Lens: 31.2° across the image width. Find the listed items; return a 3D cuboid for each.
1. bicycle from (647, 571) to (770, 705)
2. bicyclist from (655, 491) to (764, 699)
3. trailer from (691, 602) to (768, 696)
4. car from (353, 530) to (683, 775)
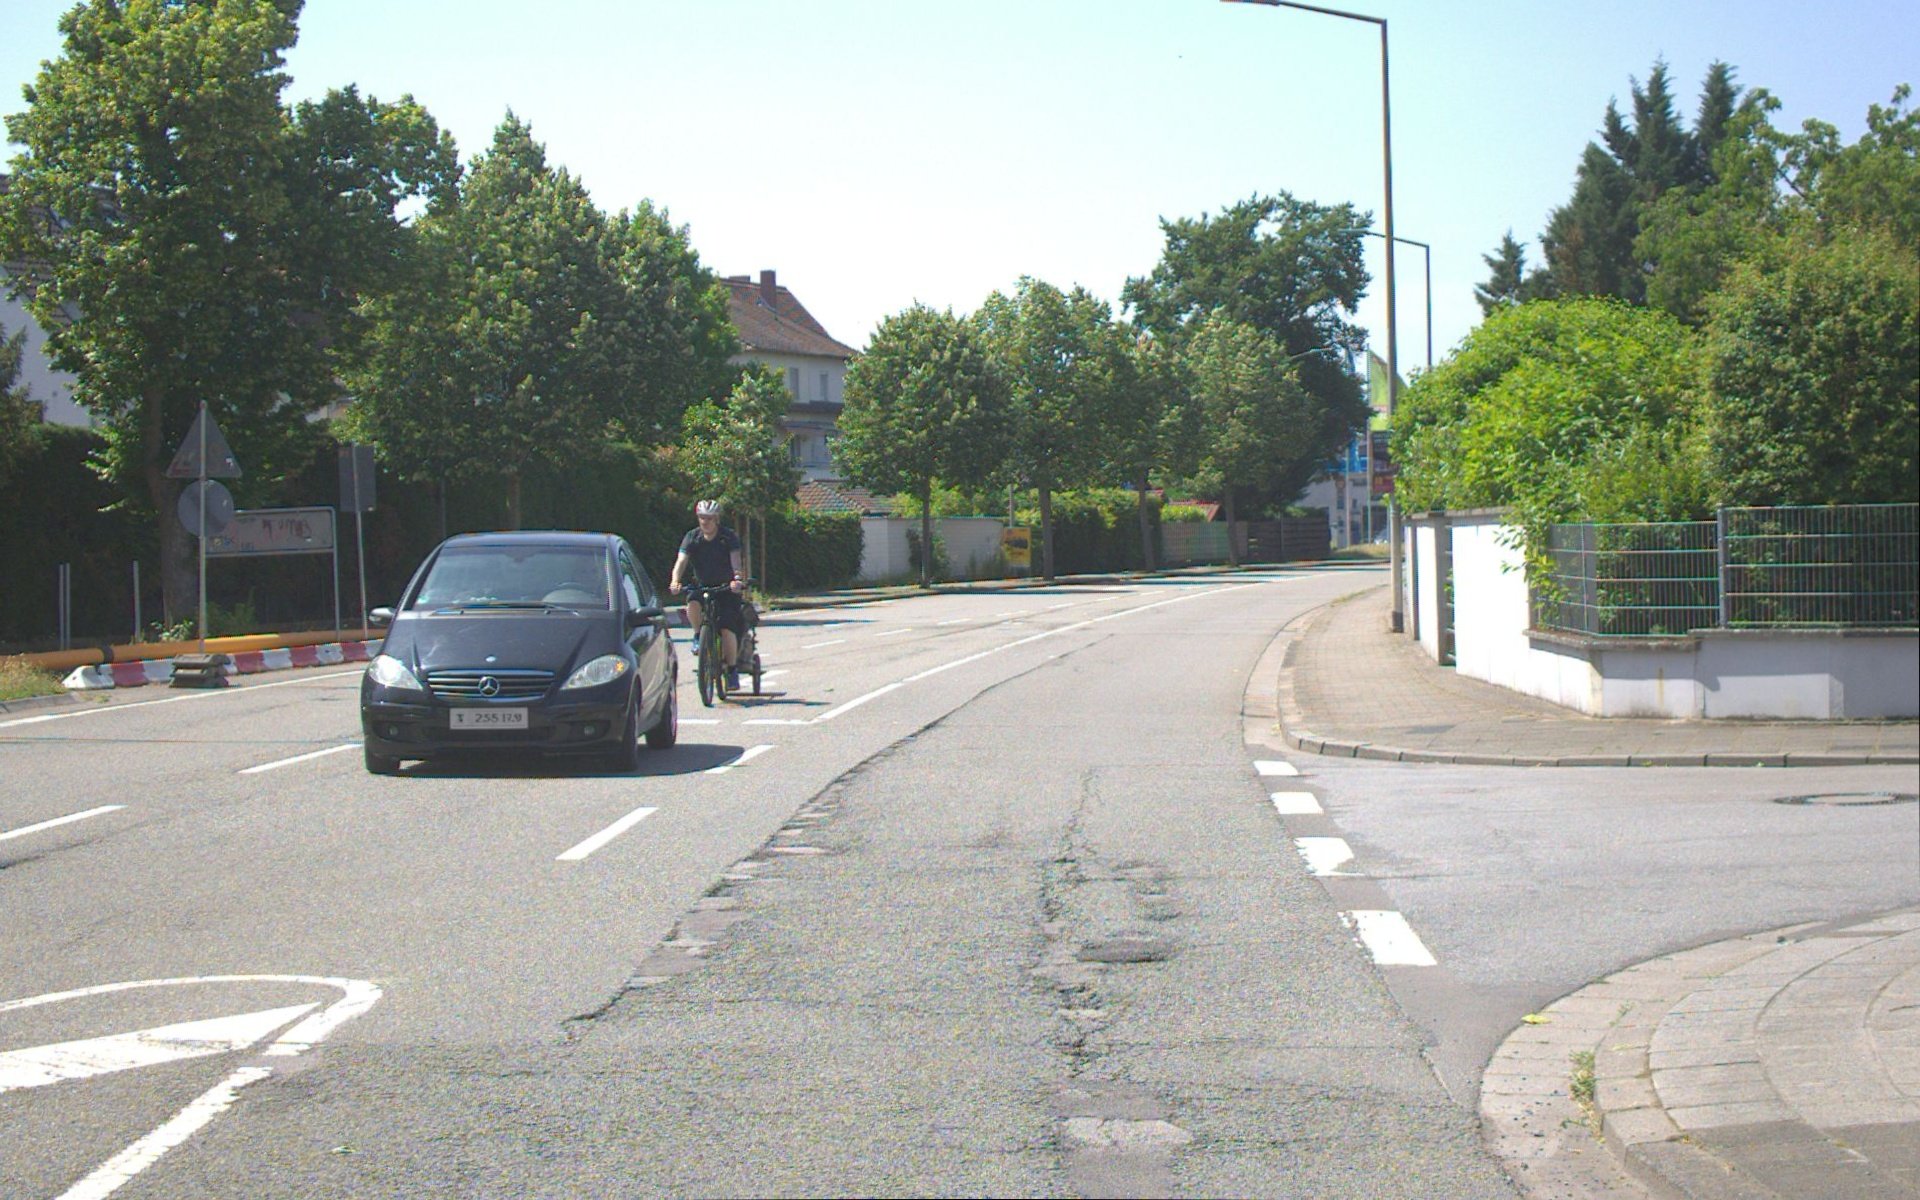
[{"bbox_3d":[-2.280,0.327,31.411,0.850,1.162,1.977,-1,1,3],"label":"bicycle"},{"bbox_3d":[-2.282,-0.054,31.406,0.846,1.859,0.976,-1,1,4],"label":"bicyclist"},{"bbox_3d":[-2.207,0.458,32.972,0.570,0.853,1.132,-2,1,4],"label":"trailer"},{"bbox_3d":[-2.921,0.296,23.446,1.725,1.527,3.830,0,1,0],"label":"car"}]
